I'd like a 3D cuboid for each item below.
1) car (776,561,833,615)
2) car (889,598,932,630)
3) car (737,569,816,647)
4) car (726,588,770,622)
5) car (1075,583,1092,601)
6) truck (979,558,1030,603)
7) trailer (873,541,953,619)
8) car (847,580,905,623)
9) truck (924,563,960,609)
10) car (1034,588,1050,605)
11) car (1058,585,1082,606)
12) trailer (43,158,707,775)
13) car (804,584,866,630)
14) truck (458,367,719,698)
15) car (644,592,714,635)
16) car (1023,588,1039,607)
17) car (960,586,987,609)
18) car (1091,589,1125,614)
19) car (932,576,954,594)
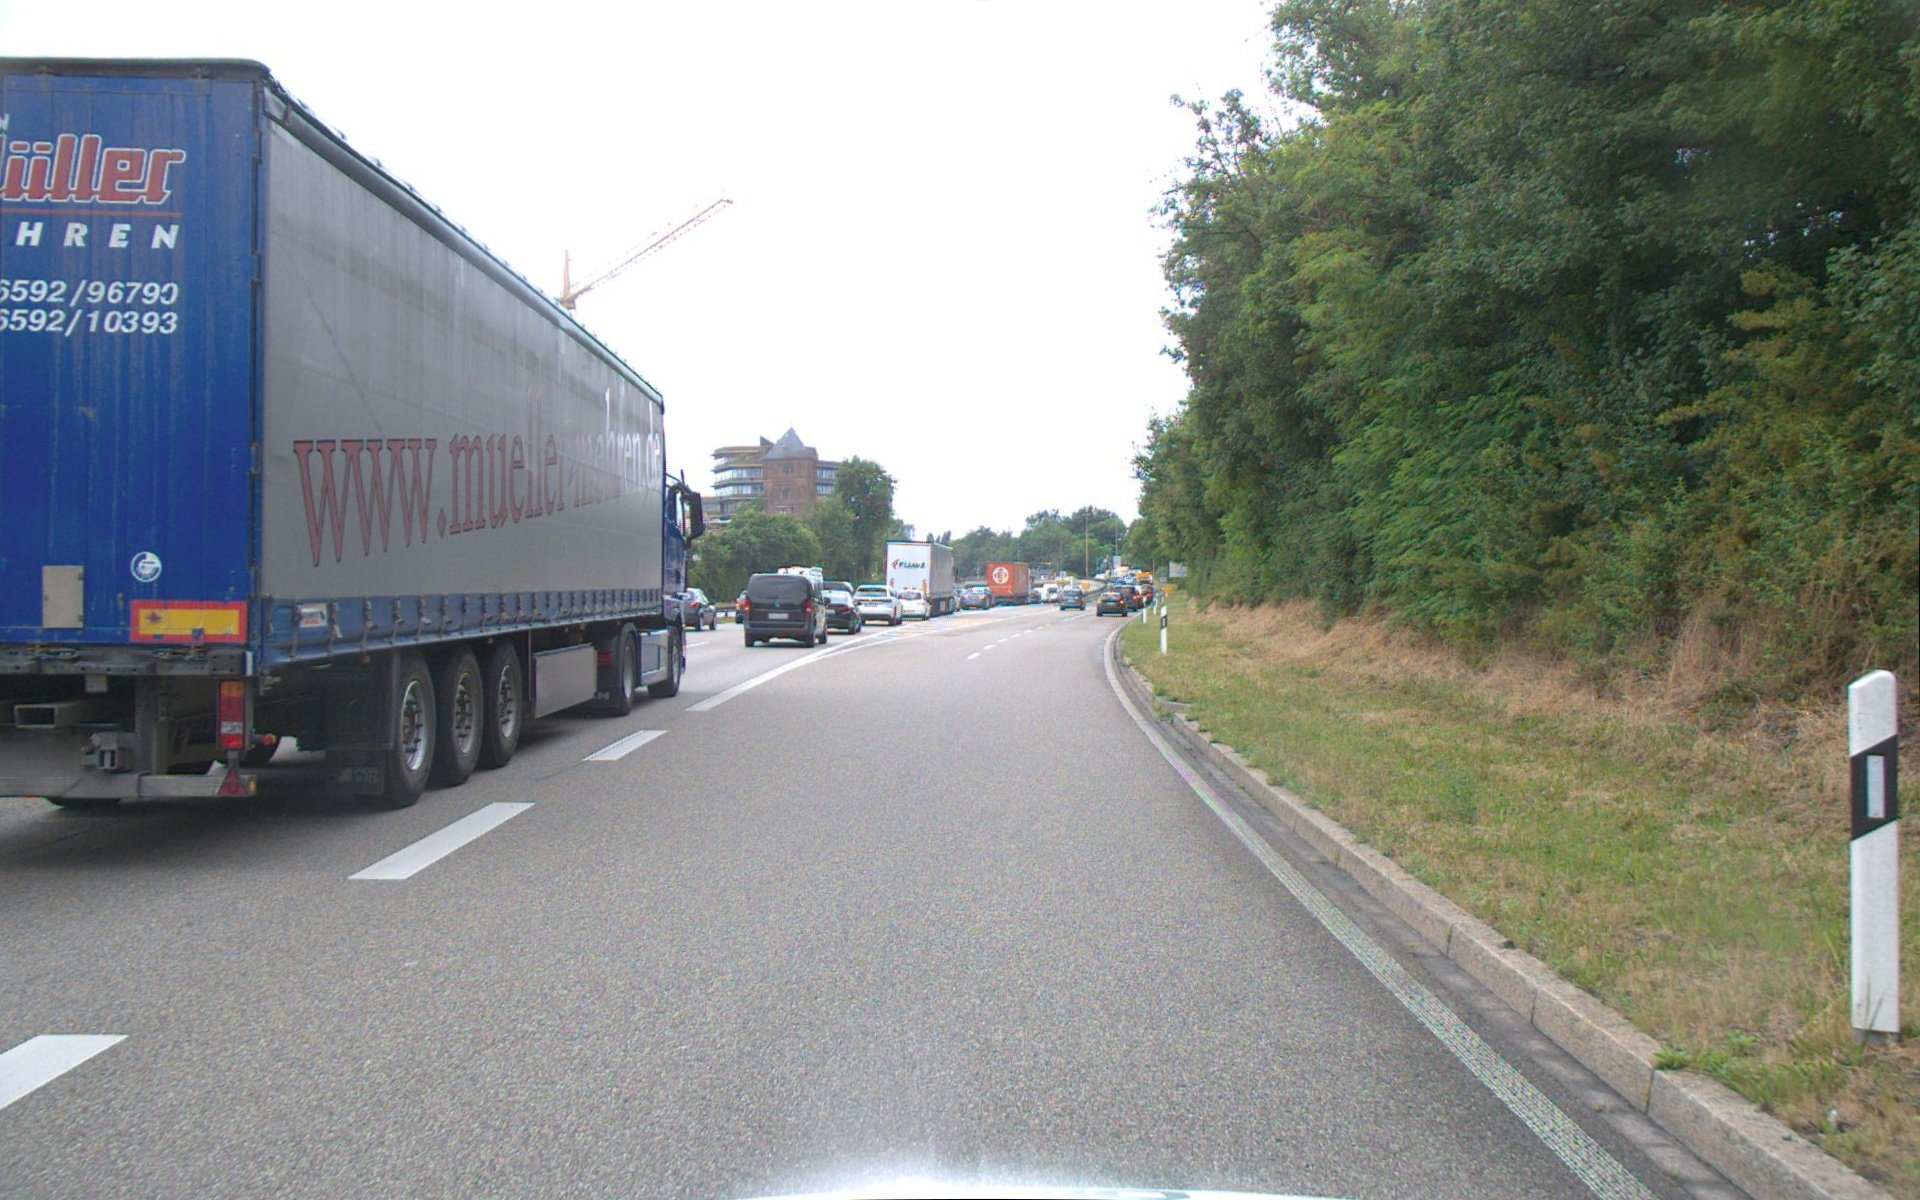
[{"bbox_3d":[-7.733,-0.595,82.865,1.951,2.598,5.365,0,0,4],"label":"car"},{"bbox_3d":[-2.460,0.675,82.847,1.727,1.504,4.091,2,0,4],"label":"car"},{"bbox_3d":[-4.926,0.199,44.901,1.949,1.931,4.979,-1,0,-5],"label":"car"},{"bbox_3d":[-9.131,0.213,71.340,1.411,1.411,3.048,1,0,1],"label":"car"},{"bbox_3d":[14.309,-0.880,191.506,1.910,2.049,4.002,0,0,5],"label":"car"},{"bbox_3d":[4.410,-1.885,159.140,3.415,4.144,13.603,0,0,8],"label":"truck"},{"bbox_3d":[-2.541,-1.024,94.651,3.229,4.107,13.104,1,0,4],"label":"trailer"},{"bbox_3d":[-3.579,0.080,71.230,1.915,1.724,4.868,1,0,3],"label":"car"},{"bbox_3d":[-1.641,-1.278,157.614,2.681,4.211,10.701,1,0,3],"label":"truck"},{"bbox_3d":[9.600,-0.422,194.171,1.580,1.982,3.707,1,0,7],"label":"car"},{"bbox_3d":[8.354,-0.352,125.775,1.786,1.508,4.002,0,0,4],"label":"car"},{"bbox_3d":[-4.953,-0.877,17.849,2.573,4.093,13.460,1,0,-1],"label":"trailer"},{"bbox_3d":[-4.302,0.244,57.535,1.809,1.485,4.830,1,0,-1],"label":"car"},{"bbox_3d":[-5.147,-0.835,24.121,2.510,4.113,6.586,1,0,-3],"label":"truck"},{"bbox_3d":[-9.673,0.439,57.166,1.640,1.413,4.001,0,0,1],"label":"car"},{"bbox_3d":[7.893,-0.276,183.237,1.580,1.982,3.707,1,0,5],"label":"car"},{"bbox_3d":[1.026,-0.178,124.096,1.681,1.713,4.002,1,0,6],"label":"car"},{"bbox_3d":[9.112,0.076,101.532,1.786,1.508,4.004,0,0,10],"label":"car"},{"bbox_3d":[-1.982,-1.706,193.482,1.951,2.049,4.003,0,0,7],"label":"car"}]
